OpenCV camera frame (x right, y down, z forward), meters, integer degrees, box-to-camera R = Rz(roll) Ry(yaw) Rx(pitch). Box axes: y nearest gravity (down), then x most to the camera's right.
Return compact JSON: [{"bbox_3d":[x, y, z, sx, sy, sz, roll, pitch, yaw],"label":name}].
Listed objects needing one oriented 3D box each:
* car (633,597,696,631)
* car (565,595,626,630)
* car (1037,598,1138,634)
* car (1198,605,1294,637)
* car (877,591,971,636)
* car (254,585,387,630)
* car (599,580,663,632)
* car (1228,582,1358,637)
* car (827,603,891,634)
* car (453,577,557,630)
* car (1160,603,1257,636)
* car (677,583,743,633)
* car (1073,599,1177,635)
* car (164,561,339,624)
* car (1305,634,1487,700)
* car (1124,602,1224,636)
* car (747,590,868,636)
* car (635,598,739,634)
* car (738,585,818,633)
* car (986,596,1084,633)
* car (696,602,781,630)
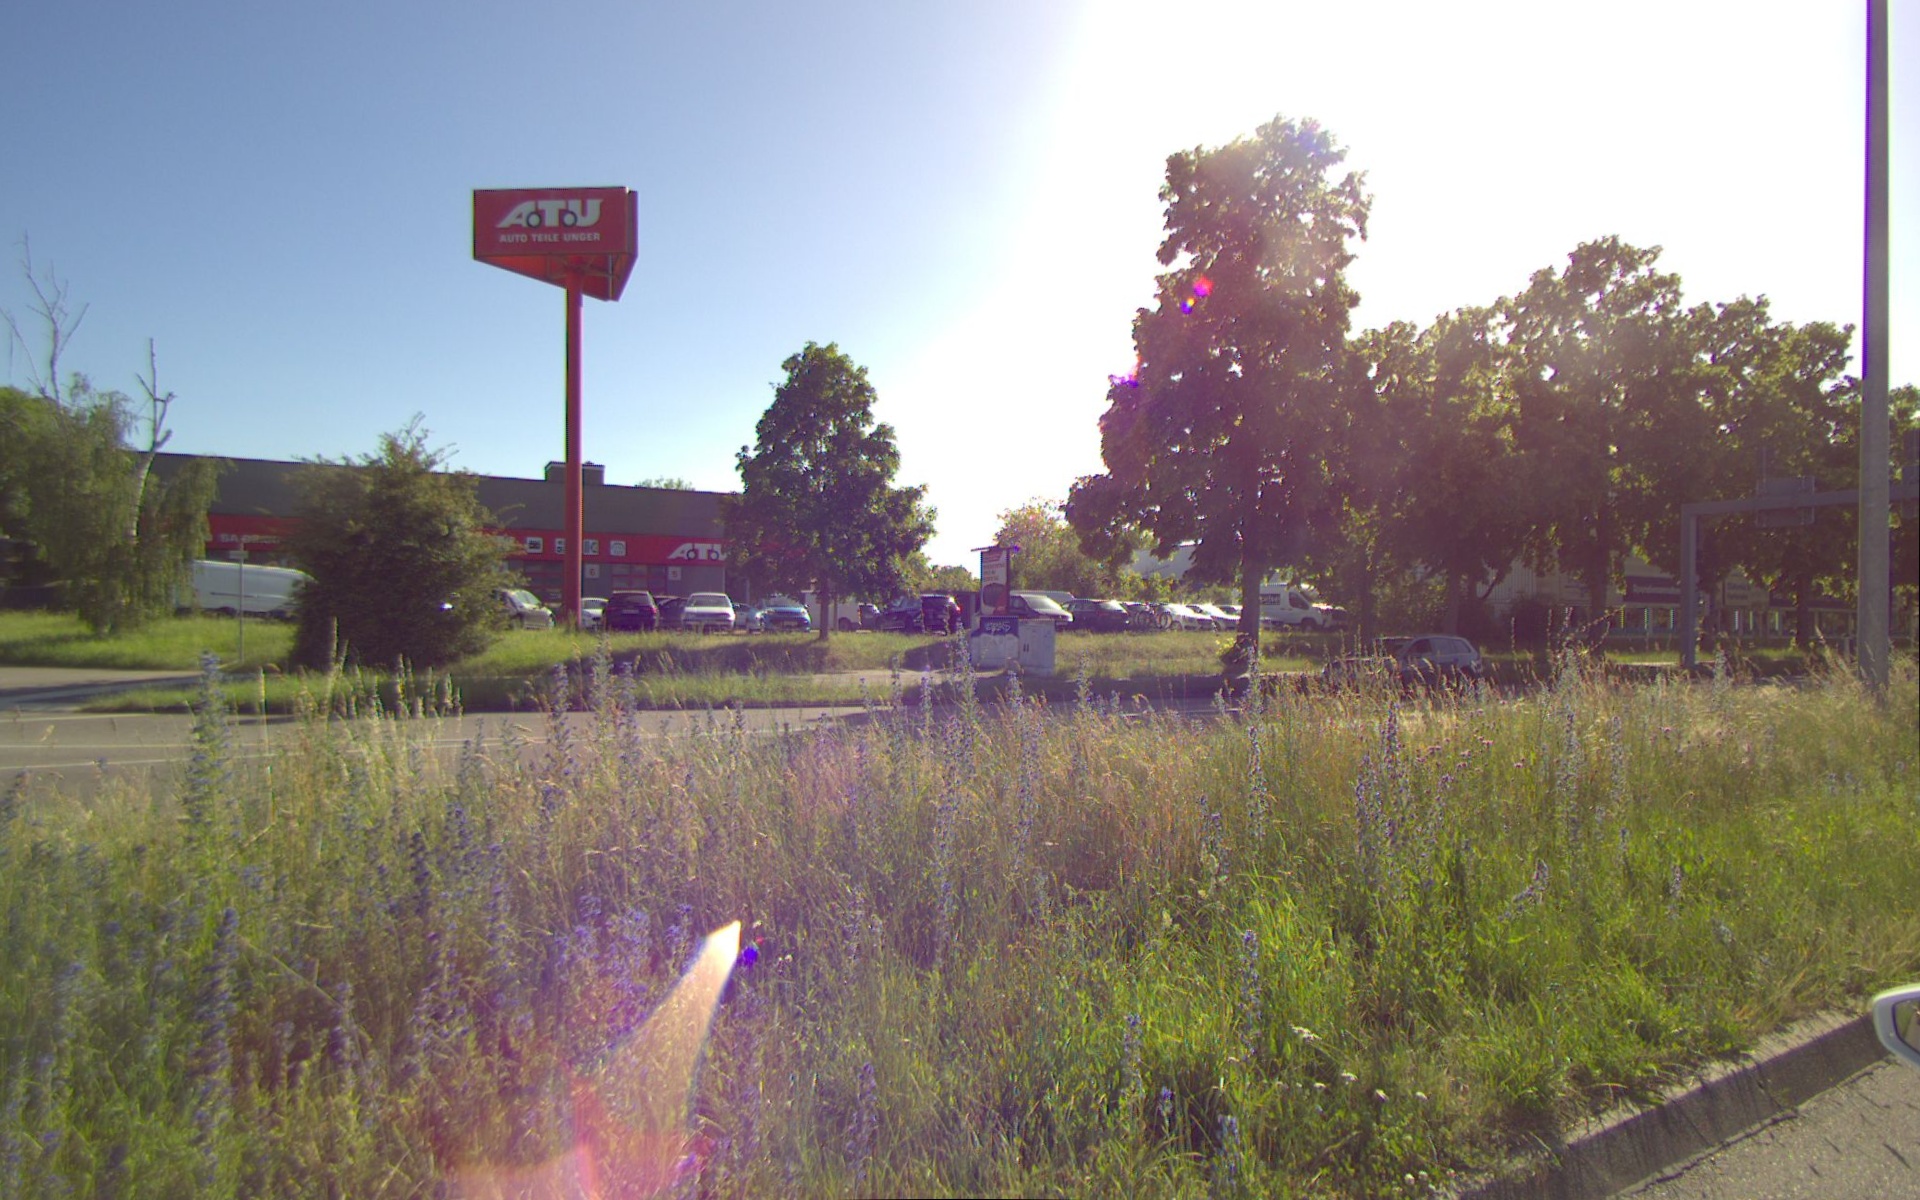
[{"bbox_3d":[-13.484,0.644,45.745,1.873,1.474,4.100,1,-1,-29],"label":"car"},{"bbox_3d":[-15.956,0.559,43.895,1.873,1.474,4.100,1,-1,-29],"label":"car"},{"bbox_3d":[5.103,0.662,40.708,1.925,1.407,4.095,1,-1,-32],"label":"car"},{"bbox_3d":[13.282,0.966,46.819,1.925,1.407,4.095,1,-1,-32],"label":"car"},{"bbox_3d":[-1.383,0.515,36.729,1.921,1.572,4.104,1,-1,-26],"label":"car"},{"bbox_3d":[-22.266,0.302,35.162,1.857,1.474,4.133,0,-1,3],"label":"car"},{"bbox_3d":[-10.777,0.233,33.149,1.865,1.572,4.117,1,-1,-17],"label":"car"},{"bbox_3d":[15.711,0.499,47.739,2.183,2.465,5.844,1,-1,-32],"label":"car"},{"bbox_3d":[-5.144,0.942,50.622,1.871,1.474,4.103,1,-1,-27],"label":"car"},{"bbox_3d":[-14.495,0.154,32.232,1.860,1.572,4.127,1,-1,-7],"label":"car"},{"bbox_3d":[11.166,0.890,45.315,1.925,1.407,4.095,1,-1,-32],"label":"car"},{"bbox_3d":[-8.514,0.309,33.971,1.866,1.572,4.115,1,-1,-18],"label":"car"},{"bbox_3d":[6.844,0.720,42.234,1.923,1.407,4.600,1,-1,-29],"label":"car"},{"bbox_3d":[-26.296,-0.204,37.492,1.861,2.180,5.039,0,-1,28],"label":"car"},{"bbox_3d":[10.403,1.562,23.913,4.330,1.444,1.772,2,-3,-30],"label":"car"},{"bbox_3d":[9.228,0.818,43.606,1.925,1.407,4.095,1,-1,-32],"label":"car"},{"bbox_3d":[-6.798,0.610,44.989,5.062,1.982,1.774,1,-1,-26],"label":"car"},{"bbox_3d":[-11.479,0.686,42.211,3.935,1.474,1.772,1,-1,-29],"label":"car"},{"bbox_3d":[-6.395,0.348,34.987,1.793,1.572,4.107,1,-1,-24],"label":"car"},{"bbox_3d":[2.914,0.589,39.980,1.924,1.407,4.098,1,-1,-30],"label":"car"},{"bbox_3d":[-12.240,0.880,55.464,4.234,1.474,1.881,1,-1,-29],"label":"car"}]
